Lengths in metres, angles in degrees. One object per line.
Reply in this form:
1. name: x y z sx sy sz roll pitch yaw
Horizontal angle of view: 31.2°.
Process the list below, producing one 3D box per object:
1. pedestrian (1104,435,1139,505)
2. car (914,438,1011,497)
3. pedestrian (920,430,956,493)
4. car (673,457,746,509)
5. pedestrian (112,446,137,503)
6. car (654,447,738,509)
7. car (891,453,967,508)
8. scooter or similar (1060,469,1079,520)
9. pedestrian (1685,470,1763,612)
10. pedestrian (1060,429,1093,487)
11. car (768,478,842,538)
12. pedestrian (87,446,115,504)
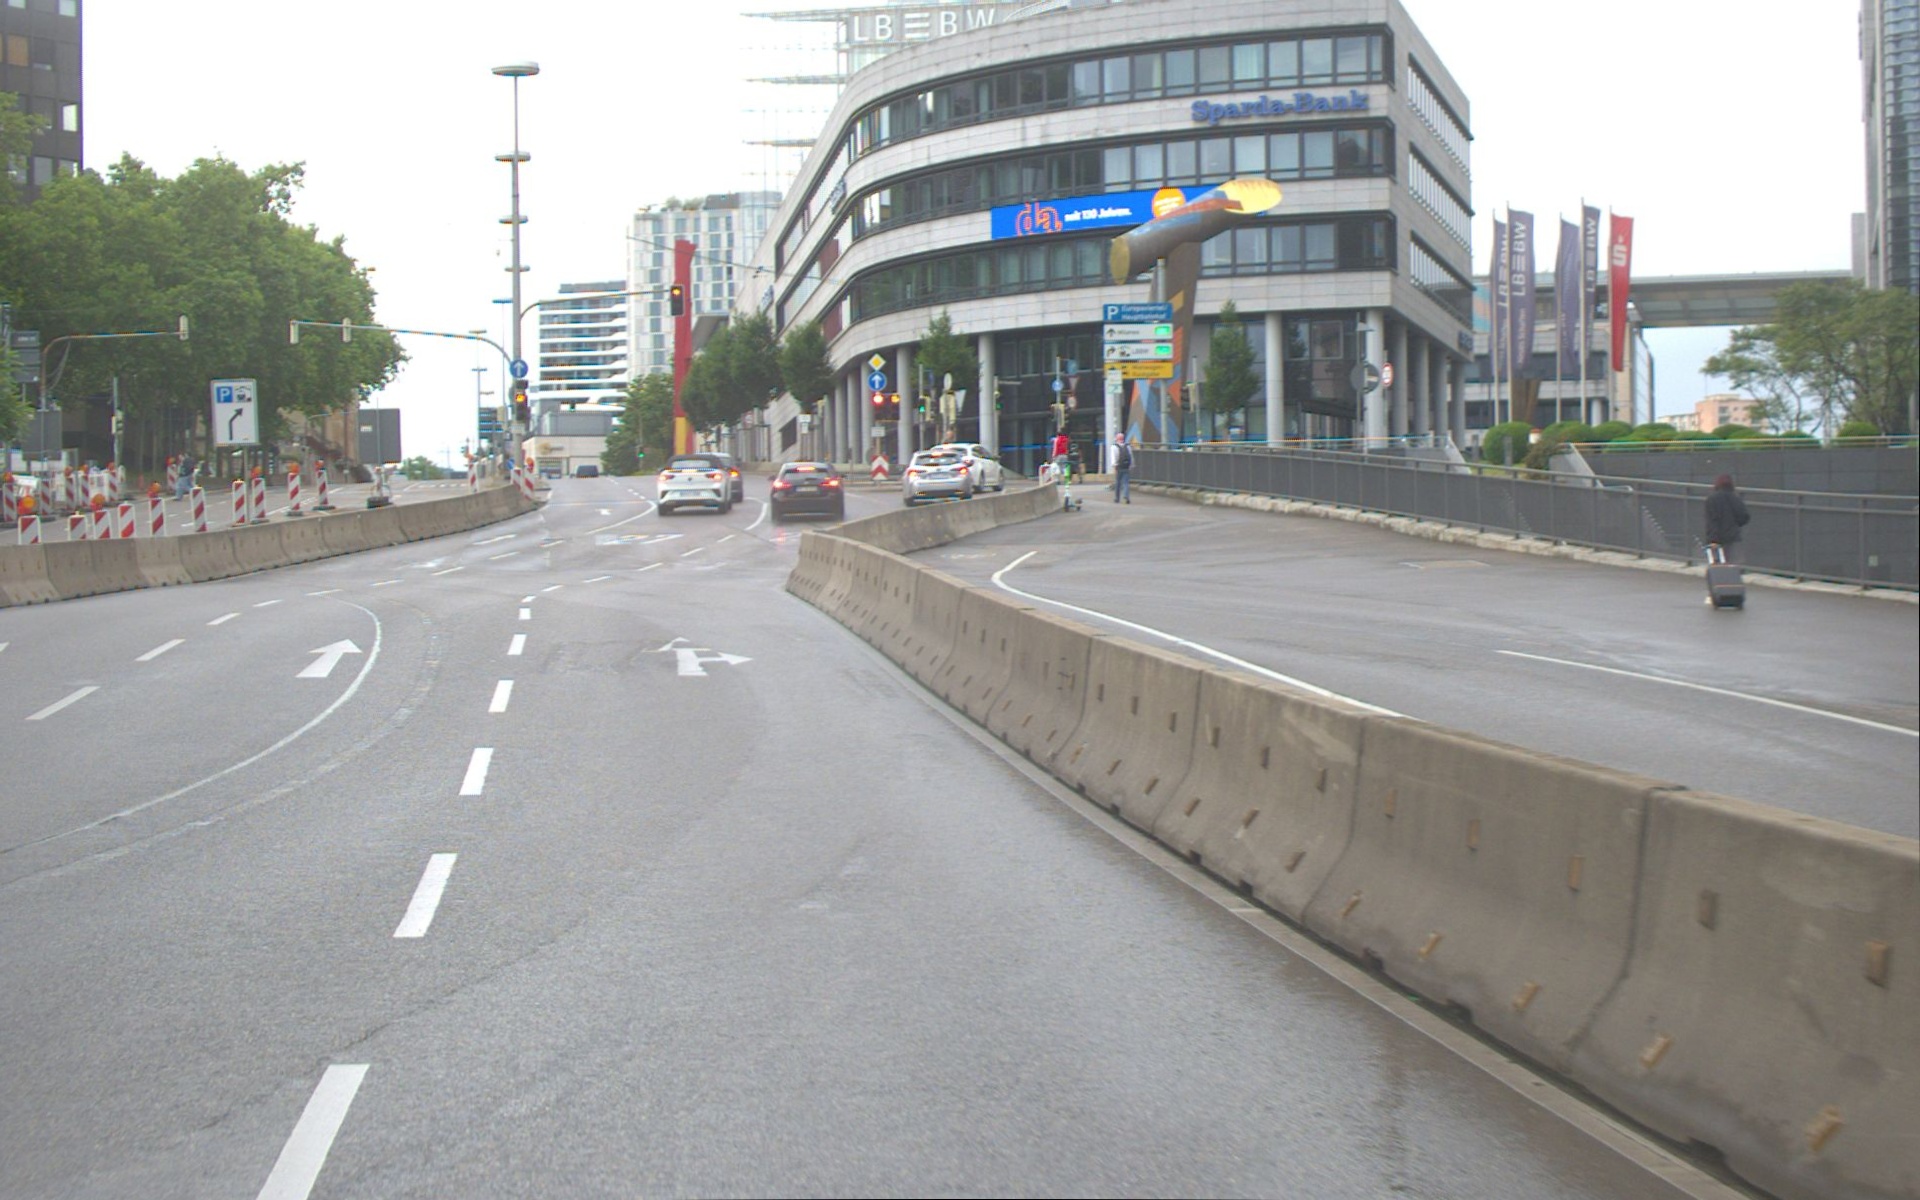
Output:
1. pedestrian: 4.041 -3.250 85.920 0.729 1.705 0.843 -1 0 -7
2. car: 0.090 -3.889 100.450 1.772 1.628 4.579 0 3 14
3. pedestrian: -0.739 -4.706 116.695 0.852 2.091 0.904 0 2 -29
4. car: -7.196 -3.356 98.471 1.739 1.438 4.002 -1 3 -9
5. pedestrian: -28.166 -4.223 115.881 0.672 1.895 0.776 -1 0 -4
6. car: -6.873 -3.207 89.723 1.964 1.543 4.219 -1 3 -2
7. car: -0.843 -3.187 91.915 1.700 1.446 4.617 0 2 -5
8. scooter or similar: 2.513 -2.429 78.892 0.349 1.158 0.573 0 1 9
9. pedestrian: 8.963 -0.698 40.294 0.730 1.646 1.060 0 2 22
10. pedestrian: 3.866 -4.705 114.290 0.841 1.898 0.860 0 0 20
11. car: -3.850 -2.278 85.025 1.754 1.402 4.228 1 1 -3
12. pedestrian: -28.956 -4.220 115.872 0.761 1.916 0.742 -1 0 -4
